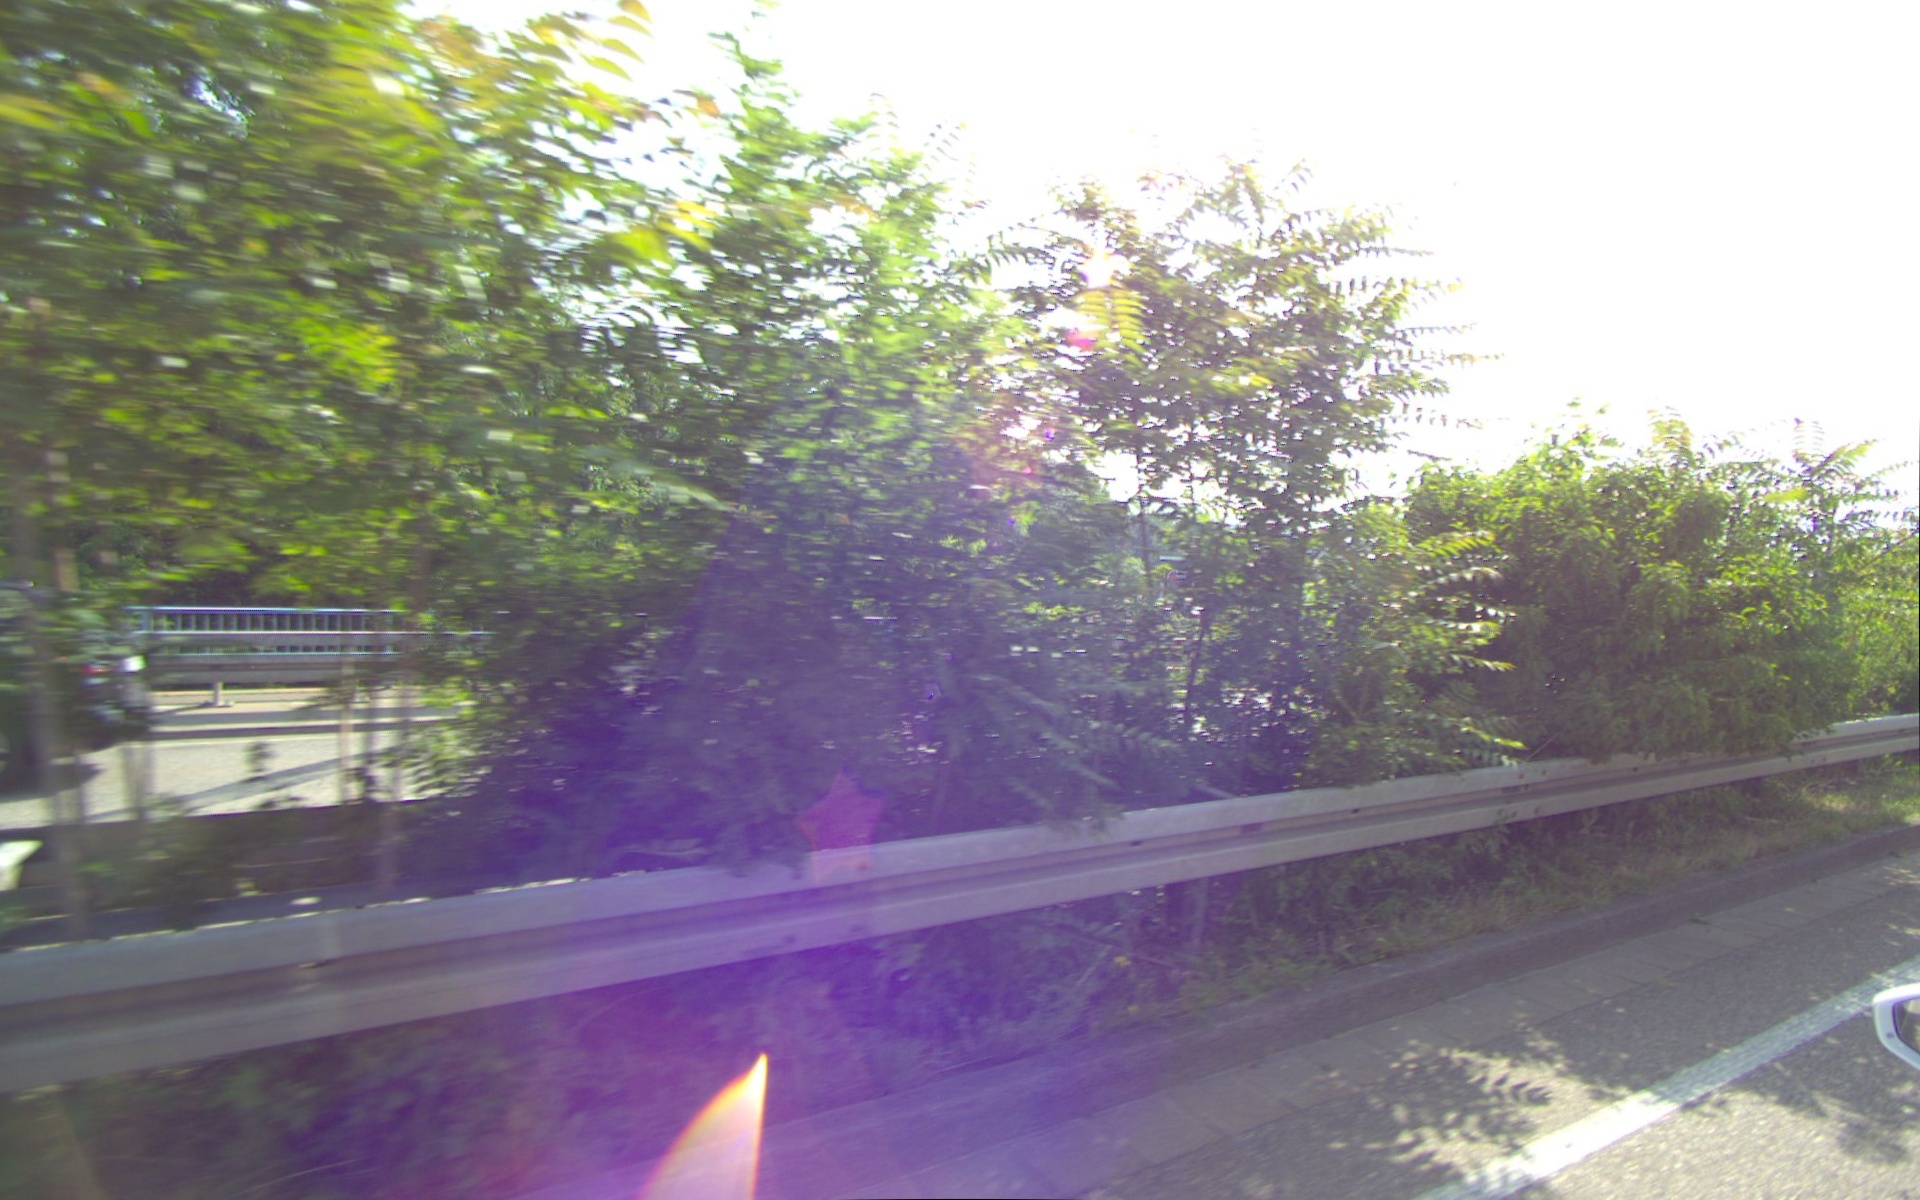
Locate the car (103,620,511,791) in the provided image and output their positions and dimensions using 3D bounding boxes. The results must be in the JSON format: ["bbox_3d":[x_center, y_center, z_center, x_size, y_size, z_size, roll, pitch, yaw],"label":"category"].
[{"bbox_3d":[-5.804,0.871,9.231,2.953,1.301,1.238,1,1,-30],"label":"car"}]
